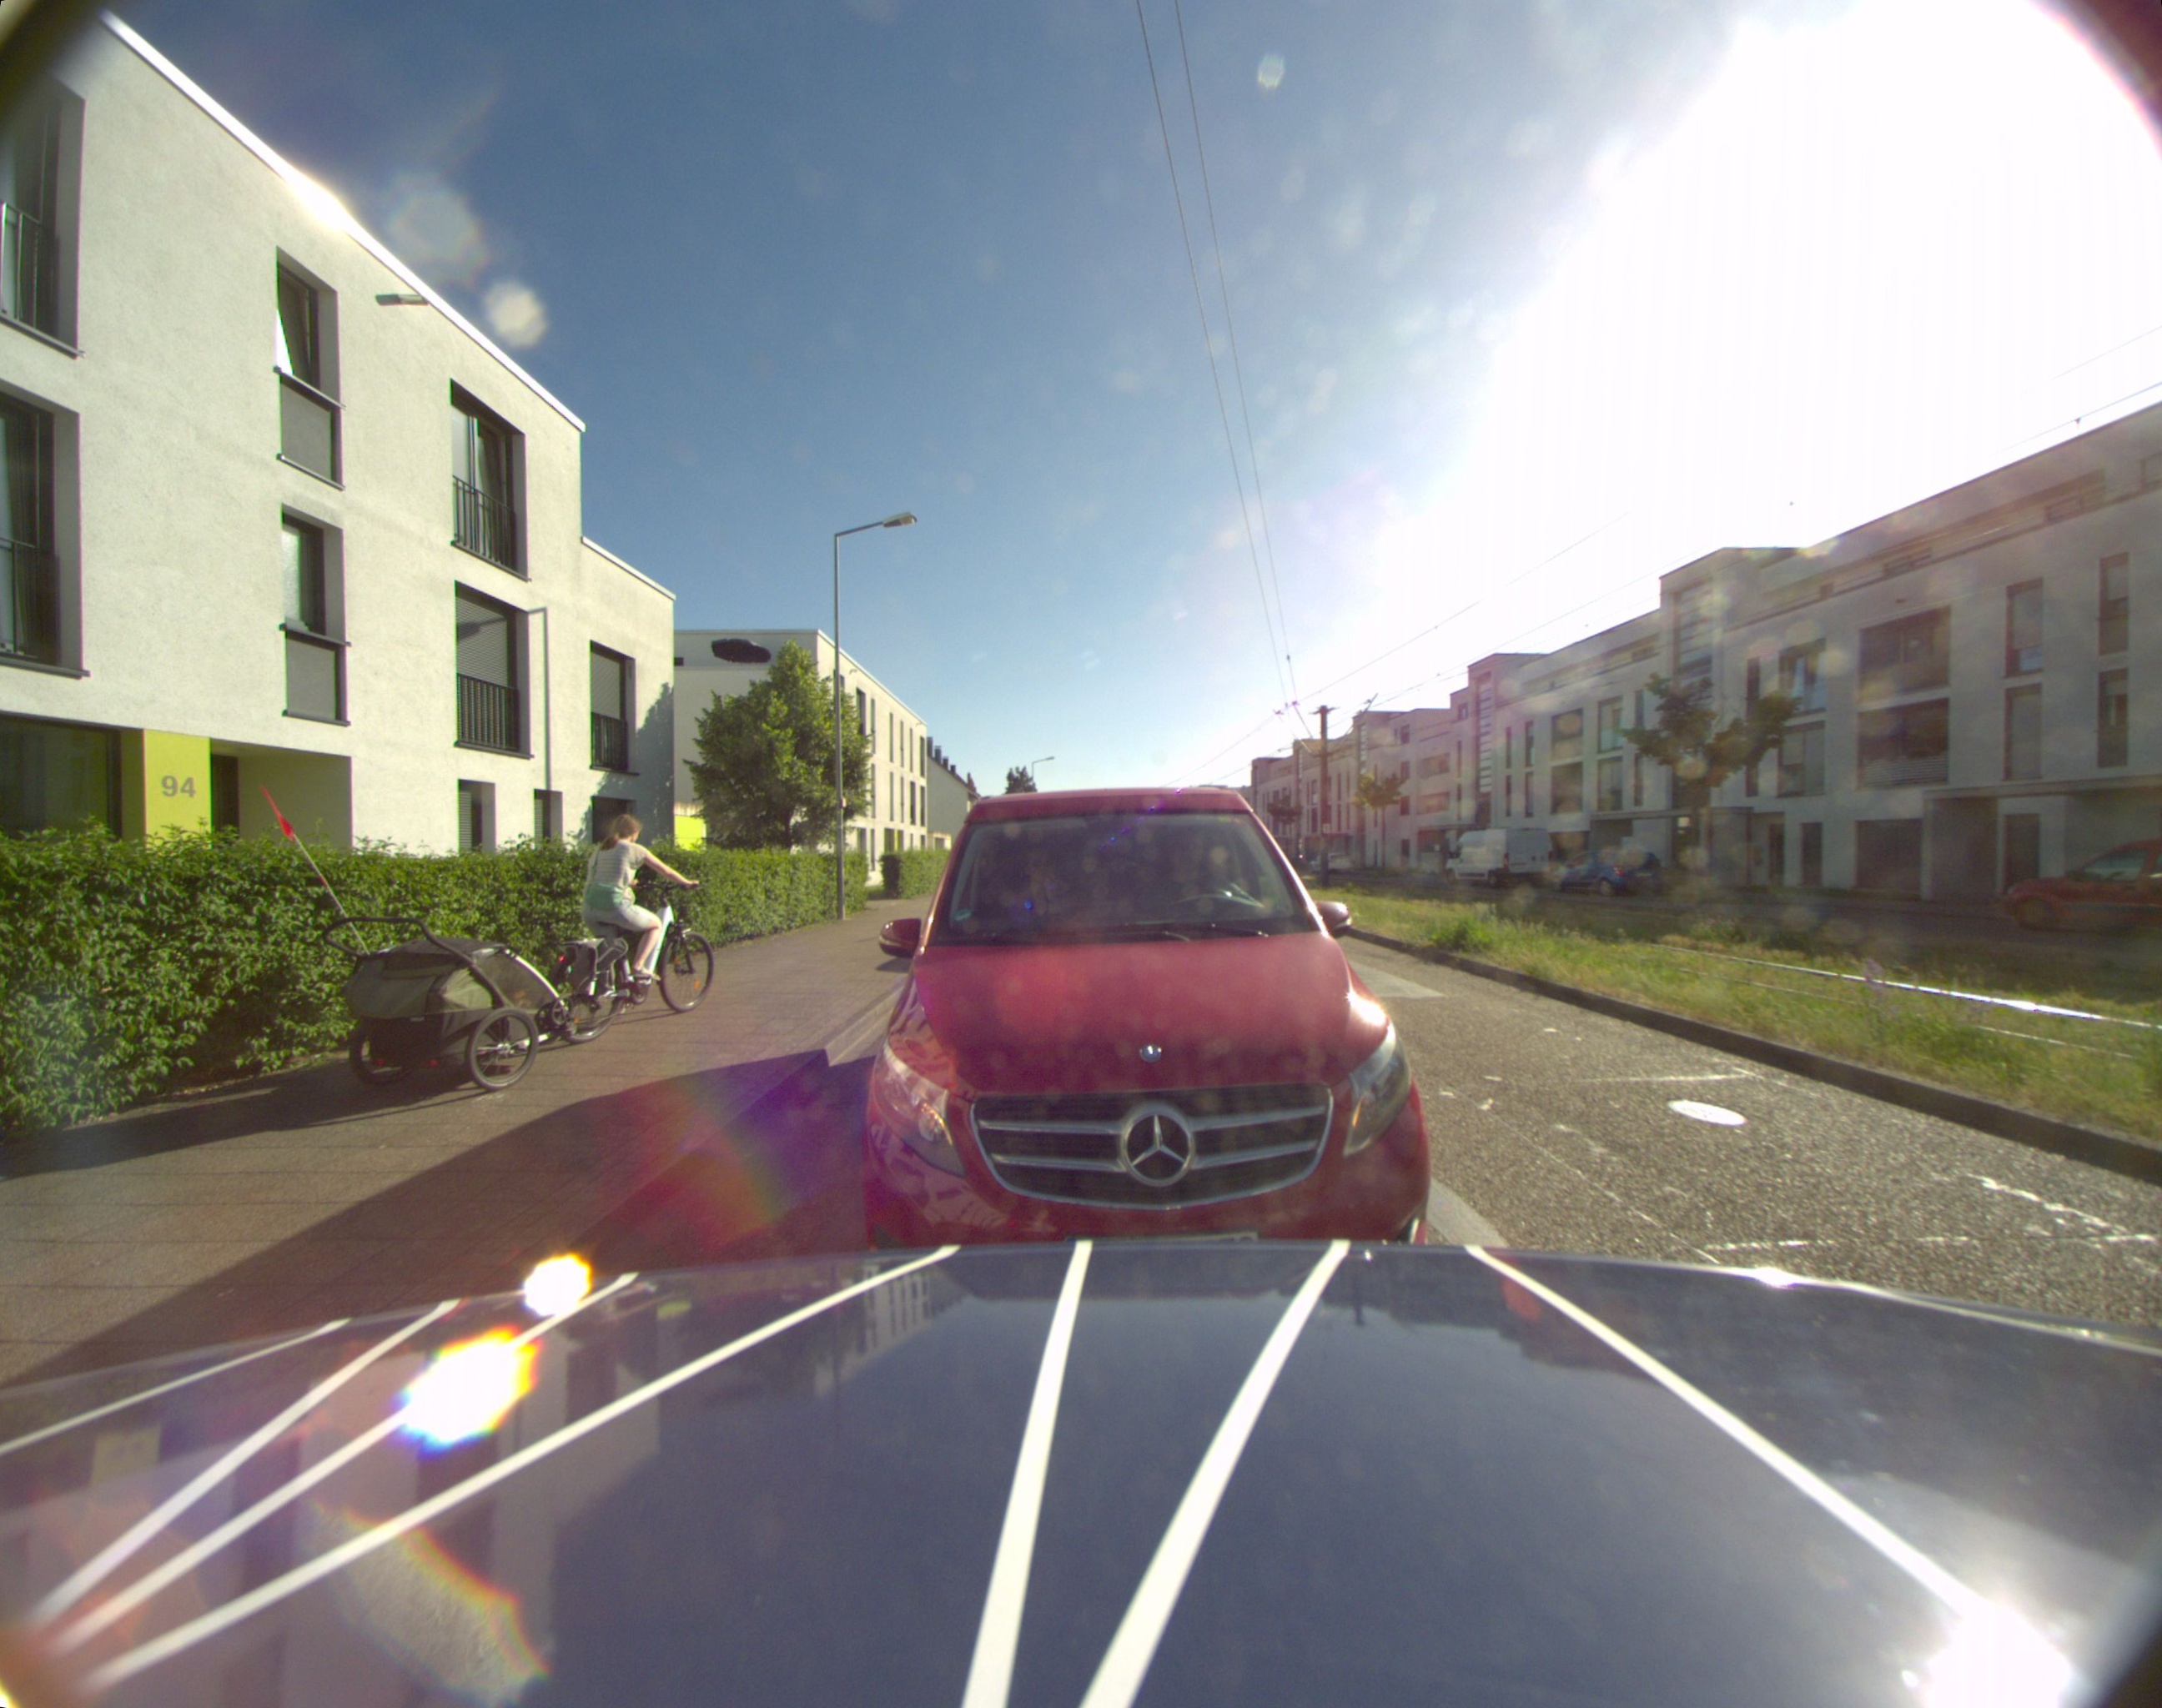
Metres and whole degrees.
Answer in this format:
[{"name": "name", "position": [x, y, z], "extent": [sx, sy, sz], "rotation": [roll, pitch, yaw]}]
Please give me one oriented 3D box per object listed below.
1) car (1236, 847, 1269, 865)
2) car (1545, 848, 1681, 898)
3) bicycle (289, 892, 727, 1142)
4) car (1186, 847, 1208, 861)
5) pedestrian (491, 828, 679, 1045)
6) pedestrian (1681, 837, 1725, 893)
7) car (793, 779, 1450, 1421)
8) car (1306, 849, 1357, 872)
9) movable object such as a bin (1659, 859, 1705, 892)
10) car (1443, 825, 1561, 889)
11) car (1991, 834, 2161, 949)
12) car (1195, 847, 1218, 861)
[{"name": "car", "position": [16.716, 0.154, 74.339], "extent": [1.923, 1.671, 4.282], "rotation": [-2, 1, -4]}, {"name": "car", "position": [18.377, 0.592, 26.484], "extent": [1.999, 1.536, 3.835], "rotation": [-2, 1, 0]}, {"name": "bicycle", "position": [-3.823, 0.960, 5.671], "extent": [0.931, 1.166, 3.124], "rotation": [0, 1, -1]}, {"name": "car", "position": [15.183, -0.036, 99.642], "extent": [1.923, 1.671, 4.282], "rotation": [-2, 1, -4]}, {"name": "pedestrian", "position": [-3.833, 0.598, 5.962], "extent": [0.913, 1.585, 0.854], "rotation": [0, 1, -2]}, {"name": "pedestrian", "position": [20.742, 0.366, 25.347], "extent": [0.776, 1.812, 0.785], "rotation": [-2, 1, 1]}, {"name": "car", "position": [0.154, 0.713, 4.496], "extent": [1.874, 1.843, 4.506], "rotation": [-2, 1, 1]}, {"name": "car", "position": [17.633, 0.434, 53.725], "extent": [1.923, 1.497, 4.282], "rotation": [-2, 1, -4]}, {"name": "movable object such as a bin", "position": [20.779, 0.734, 26.296], "extent": [0.729, 1.048, 1.083], "rotation": [-2, 1, 1]}, {"name": "car", "position": [18.169, 0.091, 33.156], "extent": [2.225, 2.458, 5.195], "rotation": [-2, 1, 0]}, {"name": "car", "position": [18.618, 0.593, 12.794], "extent": [1.998, 1.817, 3.895], "rotation": [-2, 1, 3]}, {"name": "car", "position": [15.470, -0.015, 93.891], "extent": [1.923, 1.671, 4.282], "rotation": [-2, 1, -4]}]
